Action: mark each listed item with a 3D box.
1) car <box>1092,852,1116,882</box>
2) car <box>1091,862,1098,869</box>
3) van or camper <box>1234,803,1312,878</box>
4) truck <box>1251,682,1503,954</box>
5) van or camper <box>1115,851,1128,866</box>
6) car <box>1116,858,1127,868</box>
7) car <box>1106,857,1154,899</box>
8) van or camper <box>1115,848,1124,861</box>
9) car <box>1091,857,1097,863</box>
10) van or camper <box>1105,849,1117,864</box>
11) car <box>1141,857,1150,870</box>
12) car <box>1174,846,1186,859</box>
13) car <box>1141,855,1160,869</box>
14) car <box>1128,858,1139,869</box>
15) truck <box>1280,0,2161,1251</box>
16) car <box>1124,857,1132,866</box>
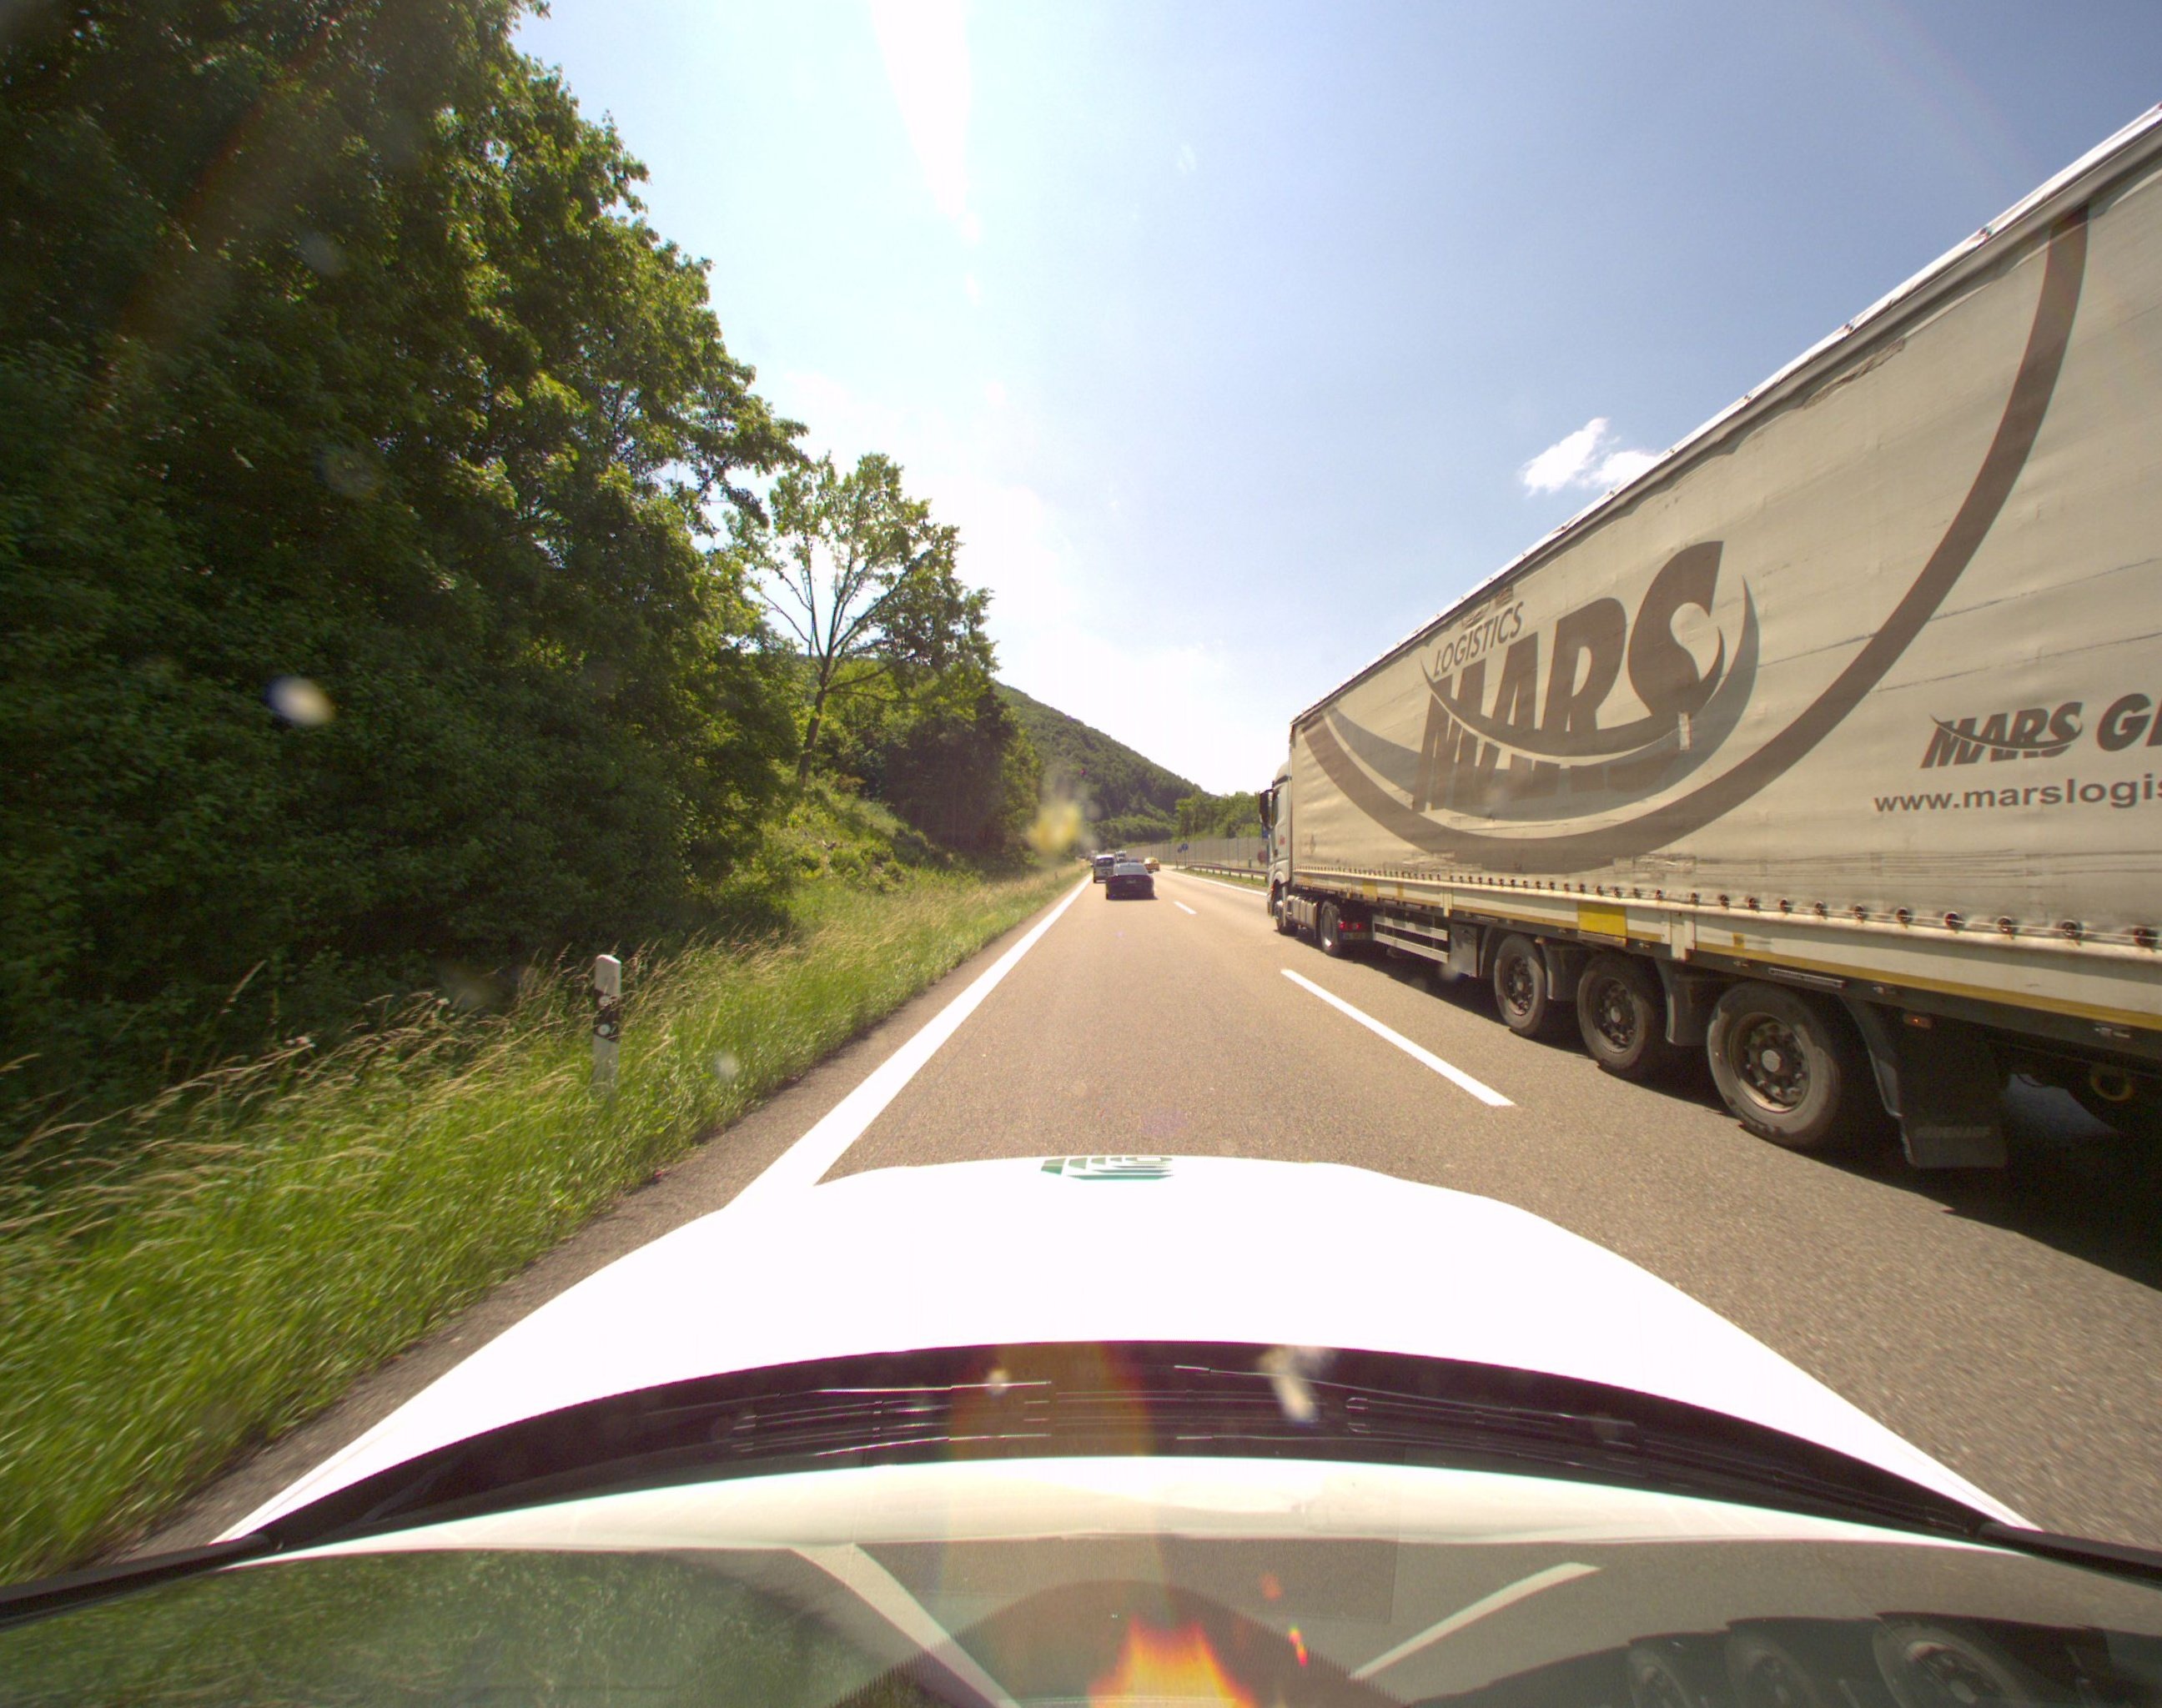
[{"bbox_3d":[1.585,0.901,55.904,1.515,1.968,3.515,3,-1,1],"label":"car"},{"bbox_3d":[3.218,2.731,196.632,1.483,1.665,3.591,2,-1,2],"label":"car"},{"bbox_3d":[10.581,-0.649,45.513,2.786,3.842,6.165,2,-1,0],"label":"van or camper"},{"bbox_3d":[5.084,-0.502,15.196,2.709,4.068,5.755,1,-1,1],"label":"truck"},{"bbox_3d":[8.659,0.989,174.263,2.420,3.155,5.205,2,-1,2],"label":"van or camper"},{"bbox_3d":[7.919,1.799,160.058,2.078,2.014,4.001,2,-1,2],"label":"car"},{"bbox_3d":[1.902,0.914,32.410,1.805,1.514,3.516,0,0,2],"label":"car"},{"bbox_3d":[11.150,0.090,238.498,2.439,3.689,6.590,2,-1,2],"label":"van or camper"},{"bbox_3d":[3.564,1.567,219.989,1.483,1.496,3.591,2,-1,2],"label":"car"},{"bbox_3d":[8.164,0.706,221.583,2.786,3.907,6.165,2,-1,0],"label":"van or camper"},{"bbox_3d":[12.874,1.884,163.325,1.524,2.403,3.598,2,-1,2],"label":"car"},{"bbox_3d":[15.183,-0.245,124.950,1.570,2.014,3.429,0,0,2],"label":"car"},{"bbox_3d":[7.740,0.875,91.044,1.872,1.499,4.002,1,-1,2],"label":"car"},{"bbox_3d":[7.978,1.474,124.137,1.524,1.525,3.598,2,-1,2],"label":"car"},{"bbox_3d":[4.934,-0.643,8.233,2.716,4.068,13.743,1,-1,1],"label":"truck"},{"bbox_3d":[11.768,1.938,203.437,1.986,2.014,4.001,2,-1,2],"label":"car"}]
